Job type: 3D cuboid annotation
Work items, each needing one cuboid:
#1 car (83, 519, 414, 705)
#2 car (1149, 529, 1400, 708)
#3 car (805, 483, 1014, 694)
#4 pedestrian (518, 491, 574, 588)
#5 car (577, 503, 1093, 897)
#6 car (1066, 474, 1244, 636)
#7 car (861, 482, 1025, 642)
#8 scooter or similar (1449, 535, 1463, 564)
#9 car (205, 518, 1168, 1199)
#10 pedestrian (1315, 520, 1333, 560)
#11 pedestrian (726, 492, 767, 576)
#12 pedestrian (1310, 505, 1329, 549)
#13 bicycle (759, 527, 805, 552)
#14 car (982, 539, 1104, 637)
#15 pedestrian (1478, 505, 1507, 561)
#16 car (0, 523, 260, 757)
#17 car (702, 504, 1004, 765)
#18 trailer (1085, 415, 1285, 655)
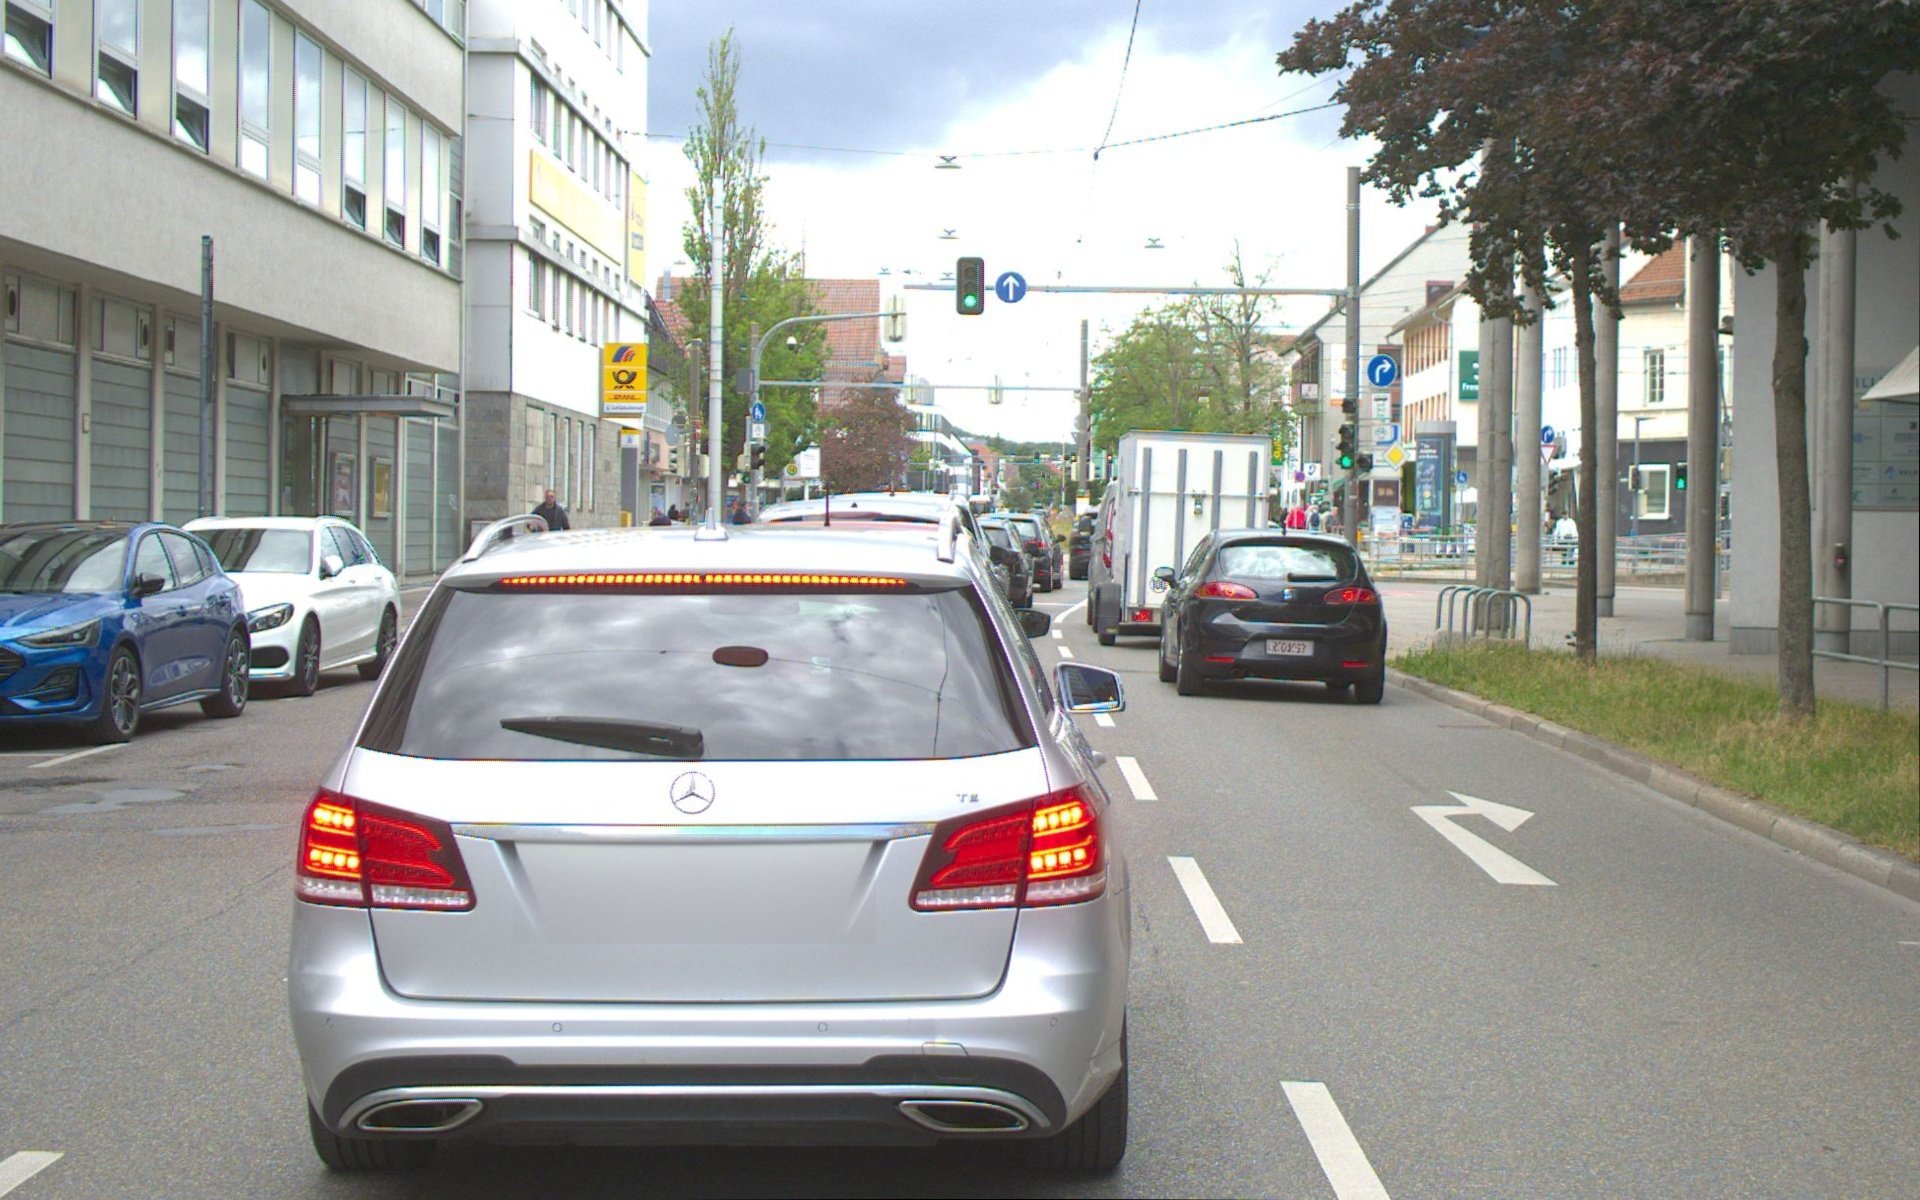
[{"bbox_3d":[-5.973,0.043,29.383,1.670,1.429,4.552,-1,1,3],"label":"car"},{"bbox_3d":[2.671,0.108,29.996,1.734,1.406,4.001,0,2,-1],"label":"car"},{"bbox_3d":[-0.460,-0.148,30.712,1.734,1.753,4.000,0,1,-1],"label":"car"},{"bbox_3d":[-7.455,-1.096,61.934,0.861,1.712,1.032,2,1,-1],"label":"pedestrian"},{"bbox_3d":[-0.418,0.342,15.371,1.734,1.503,3.999,1,1,6],"label":"car"},{"bbox_3d":[2.516,-0.622,45.387,1.877,1.939,4.907,3,1,-1],"label":"car"},{"bbox_3d":[-0.220,-0.474,40.606,1.828,1.779,4.000,1,1,-1],"label":"car"},{"bbox_3d":[17.519,-1.791,121.430,0.271,0.998,1.029,0,1,-2],"label":"scooter or similar"},{"bbox_3d":[-0.568,0.552,8.706,1.845,1.503,4.171,0,1,-1],"label":"car"},{"bbox_3d":[13.577,-2.251,128.264,0.578,1.464,0.651,2,1,1],"label":"pedestrian"},{"bbox_3d":[-4.433,-1.371,71.528,0.648,1.712,0.782,2,1,8],"label":"pedestrian"},{"bbox_3d":[13.729,-2.788,131.229,0.578,1.660,0.651,2,1,-2],"label":"pedestrian"},{"bbox_3d":[-7.802,-2.666,150.647,1.937,1.025,0.530,2,1,-8],"label":"bicycle"},{"bbox_3d":[1.268,-0.217,54.022,1.734,1.406,4.001,0,2,-1],"label":"car"},{"bbox_3d":[16.353,-2.062,105.530,0.649,1.712,0.703,1,1,29],"label":"pedestrian"},{"bbox_3d":[-6.209,0.211,23.406,1.815,1.421,4.264,-1,1,3],"label":"car"},{"bbox_3d":[-0.658,0.150,21.867,1.734,1.503,4.000,0,1,-1],"label":"car"},{"bbox_3d":[2.603,-0.780,40.776,1.877,2.604,4.323,3,1,-1],"label":"trailer"}]
